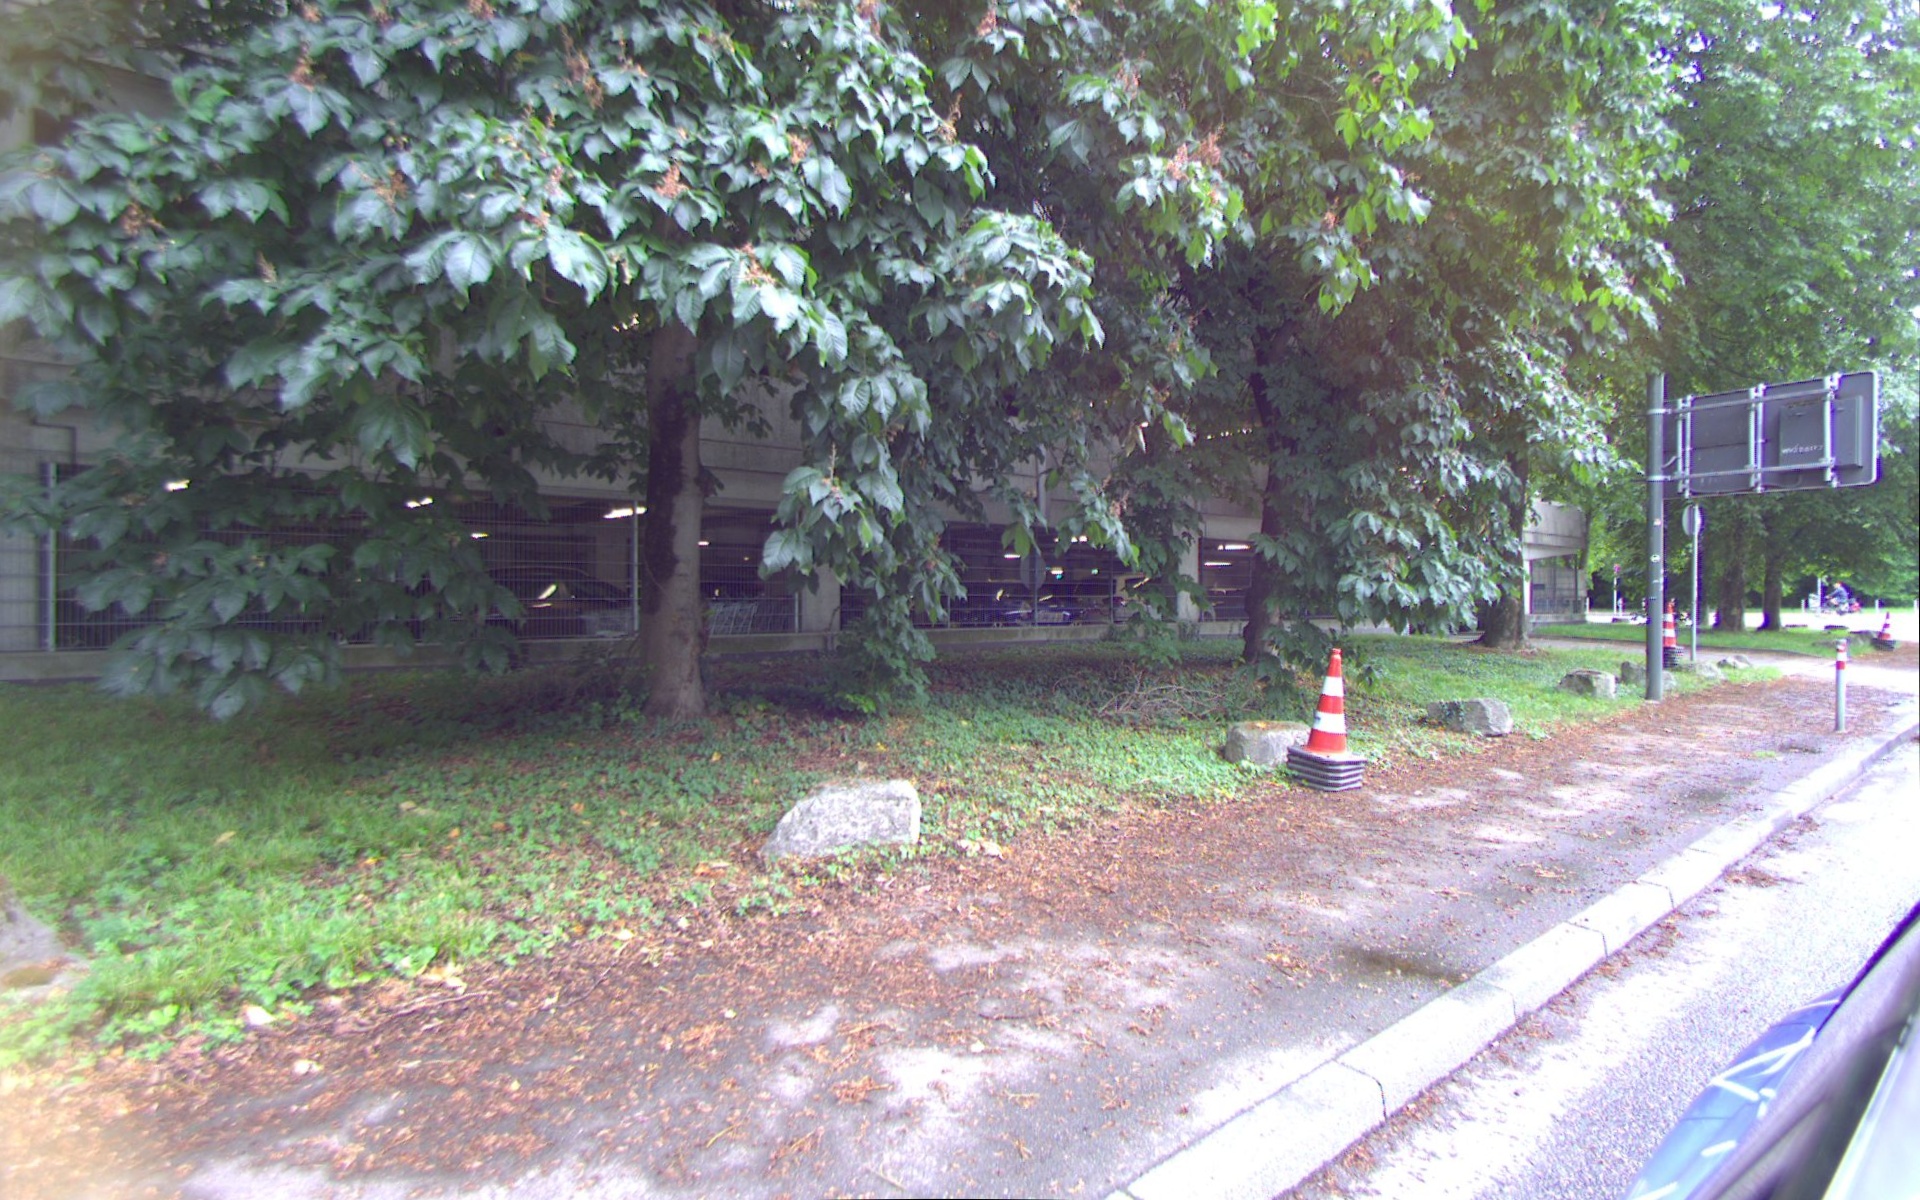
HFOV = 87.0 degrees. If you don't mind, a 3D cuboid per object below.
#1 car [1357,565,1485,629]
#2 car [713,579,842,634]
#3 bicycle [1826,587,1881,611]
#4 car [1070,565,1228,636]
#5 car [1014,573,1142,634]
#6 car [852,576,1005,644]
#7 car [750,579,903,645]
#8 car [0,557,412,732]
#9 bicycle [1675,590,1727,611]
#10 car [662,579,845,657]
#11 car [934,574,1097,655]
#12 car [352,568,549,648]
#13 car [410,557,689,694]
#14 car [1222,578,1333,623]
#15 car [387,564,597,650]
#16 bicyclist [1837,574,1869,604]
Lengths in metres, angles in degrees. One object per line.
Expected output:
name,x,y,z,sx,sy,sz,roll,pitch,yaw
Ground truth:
car,14.548,-0.093,31.808,4.653,1.858,1.922,-1,0,-41
car,-5.712,0.170,31.860,3.638,1.565,1.719,-2,1,-41
bicycle,45.949,-0.049,52.039,0.765,1.157,2.047,-3,1,-42
car,5.080,-0.036,26.821,4.587,1.730,1.588,-2,0,-41
car,3.453,0.075,29.415,3.629,1.606,1.718,-2,1,-42
car,-0.758,0.220,25.800,3.639,1.565,1.718,-2,1,-42
car,-3.445,0.286,26.544,3.639,1.565,1.718,-2,1,-42
car,-10.328,0.468,13.896,4.594,2.039,1.996,-2,0,-41
bicycle,41.702,0.061,56.973,0.736,1.137,2.252,-2,0,-44
car,-4.584,0.357,22.700,3.639,1.565,1.718,-2,1,-42
car,1.357,0.287,23.807,3.791,1.730,1.588,-2,0,-41
car,-11.440,0.133,22.847,3.639,1.627,1.718,-2,1,-42
car,-6.867,0.340,17.083,3.929,2.039,1.997,-2,0,-40
car,11.366,-0.001,36.146,3.927,1.471,1.876,-2,1,-38
car,-9.751,0.104,21.203,3.639,1.627,1.718,-2,1,-42
bicyclist,45.930,-0.562,52.041,0.912,1.514,1.099,-3,1,-42
